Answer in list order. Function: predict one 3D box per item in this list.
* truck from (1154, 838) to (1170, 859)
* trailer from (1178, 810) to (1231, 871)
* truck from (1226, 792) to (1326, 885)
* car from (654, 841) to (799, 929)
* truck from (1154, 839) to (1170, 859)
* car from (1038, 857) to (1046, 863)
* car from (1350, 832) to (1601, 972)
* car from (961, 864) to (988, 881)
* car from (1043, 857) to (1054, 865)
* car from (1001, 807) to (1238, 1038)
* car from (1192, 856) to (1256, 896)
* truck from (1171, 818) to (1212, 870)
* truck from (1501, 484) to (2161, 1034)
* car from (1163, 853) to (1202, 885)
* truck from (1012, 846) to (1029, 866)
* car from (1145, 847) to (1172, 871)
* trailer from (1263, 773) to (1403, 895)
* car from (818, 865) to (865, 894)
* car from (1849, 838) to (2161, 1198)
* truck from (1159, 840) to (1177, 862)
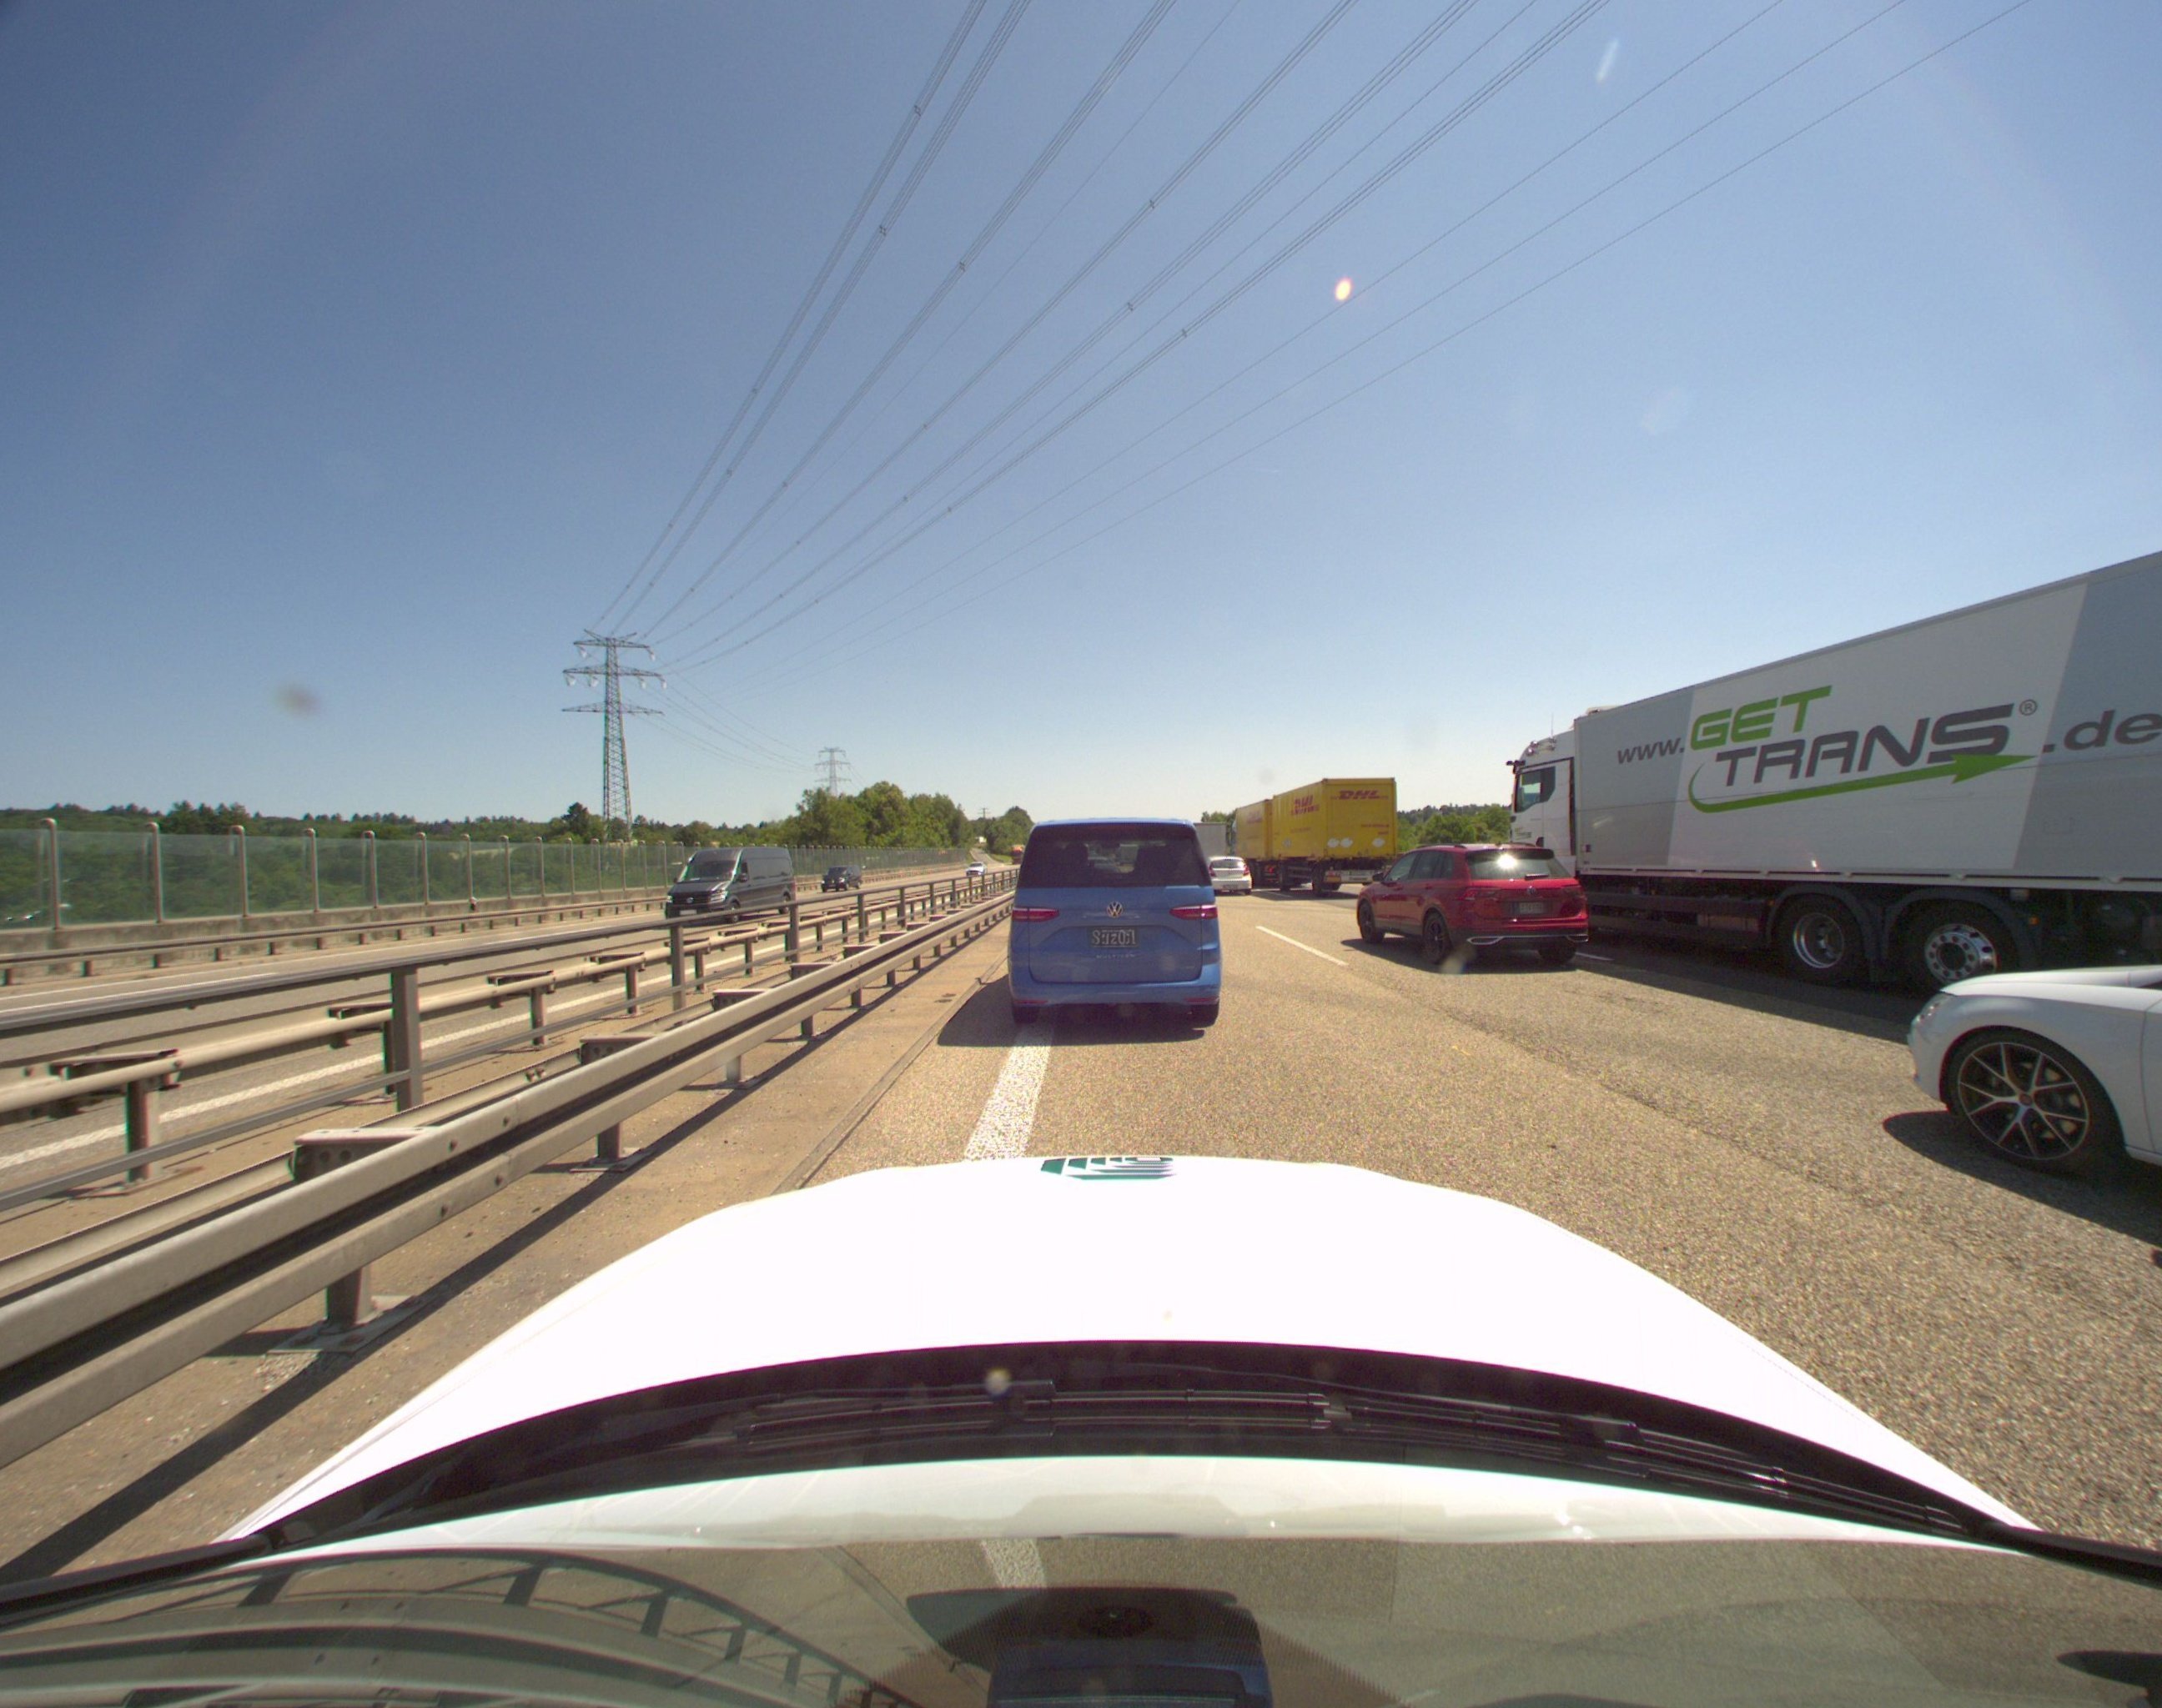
[{"bbox_3d":[10.283,-0.702,103.651,1.735,2.549,4.211,0,-1,1],"label":"truck"},{"bbox_3d":[10.065,-0.972,67.571,3.015,4.611,10.928,0,-1,2],"label":"trailer"},{"bbox_3d":[9.575,-0.630,41.194,2.690,4.088,9.938,0,-1,0],"label":"truck"},{"bbox_3d":[-12.060,1.000,28.361,1.987,2.582,6.649,-4,-1,0],"label":"car"},{"bbox_3d":[10.865,-0.690,109.208,1.790,2.596,4.306,0,-1,1],"label":"truck"},{"bbox_3d":[-10.191,1.529,213.634,1.681,1.303,4.017,-4,-1,4],"label":"car"},{"bbox_3d":[5.577,0.620,12.208,1.702,1.679,4.285,-2,-1,1],"label":"car"},{"bbox_3d":[-10.976,1.893,84.263,1.986,1.544,4.387,-3,-1,2],"label":"car"},{"bbox_3d":[-6.578,1.332,164.750,1.755,1.508,4.225,-3,0,2],"label":"car"},{"bbox_3d":[0.353,0.580,8.650,1.924,1.874,4.001,0,-1,1],"label":"car"},{"bbox_3d":[5.572,0.823,32.168,1.809,1.470,3.931,0,-1,0],"label":"car"},{"bbox_3d":[10.354,-0.850,76.984,3.015,4.611,7.923,0,-1,2],"label":"truck"},{"bbox_3d":[9.221,-0.638,9.936,2.842,3.934,10.610,0,-1,1],"label":"truck"},{"bbox_3d":[5.576,0.795,45.024,1.808,1.679,3.933,0,-1,2],"label":"car"},{"bbox_3d":[-13.259,0.459,178.911,2.660,4.185,6.292,-2,-1,3],"label":"truck"},{"bbox_3d":[6.507,0.456,68.846,1.955,1.936,3.933,0,-1,1],"label":"car"},{"bbox_3d":[9.442,-0.611,31.800,2.674,4.088,8.978,0,-1,0],"label":"trailer"},{"bbox_3d":[-17.884,1.860,61.023,1.951,1.905,4.949,-3,-1,0],"label":"car"},{"bbox_3d":[5.183,0.656,2.411,1.702,1.451,4.429,0,0,1],"label":"car"},{"bbox_3d":[10.122,-0.308,94.920,1.791,2.449,4.505,0,-1,1],"label":"truck"}]
